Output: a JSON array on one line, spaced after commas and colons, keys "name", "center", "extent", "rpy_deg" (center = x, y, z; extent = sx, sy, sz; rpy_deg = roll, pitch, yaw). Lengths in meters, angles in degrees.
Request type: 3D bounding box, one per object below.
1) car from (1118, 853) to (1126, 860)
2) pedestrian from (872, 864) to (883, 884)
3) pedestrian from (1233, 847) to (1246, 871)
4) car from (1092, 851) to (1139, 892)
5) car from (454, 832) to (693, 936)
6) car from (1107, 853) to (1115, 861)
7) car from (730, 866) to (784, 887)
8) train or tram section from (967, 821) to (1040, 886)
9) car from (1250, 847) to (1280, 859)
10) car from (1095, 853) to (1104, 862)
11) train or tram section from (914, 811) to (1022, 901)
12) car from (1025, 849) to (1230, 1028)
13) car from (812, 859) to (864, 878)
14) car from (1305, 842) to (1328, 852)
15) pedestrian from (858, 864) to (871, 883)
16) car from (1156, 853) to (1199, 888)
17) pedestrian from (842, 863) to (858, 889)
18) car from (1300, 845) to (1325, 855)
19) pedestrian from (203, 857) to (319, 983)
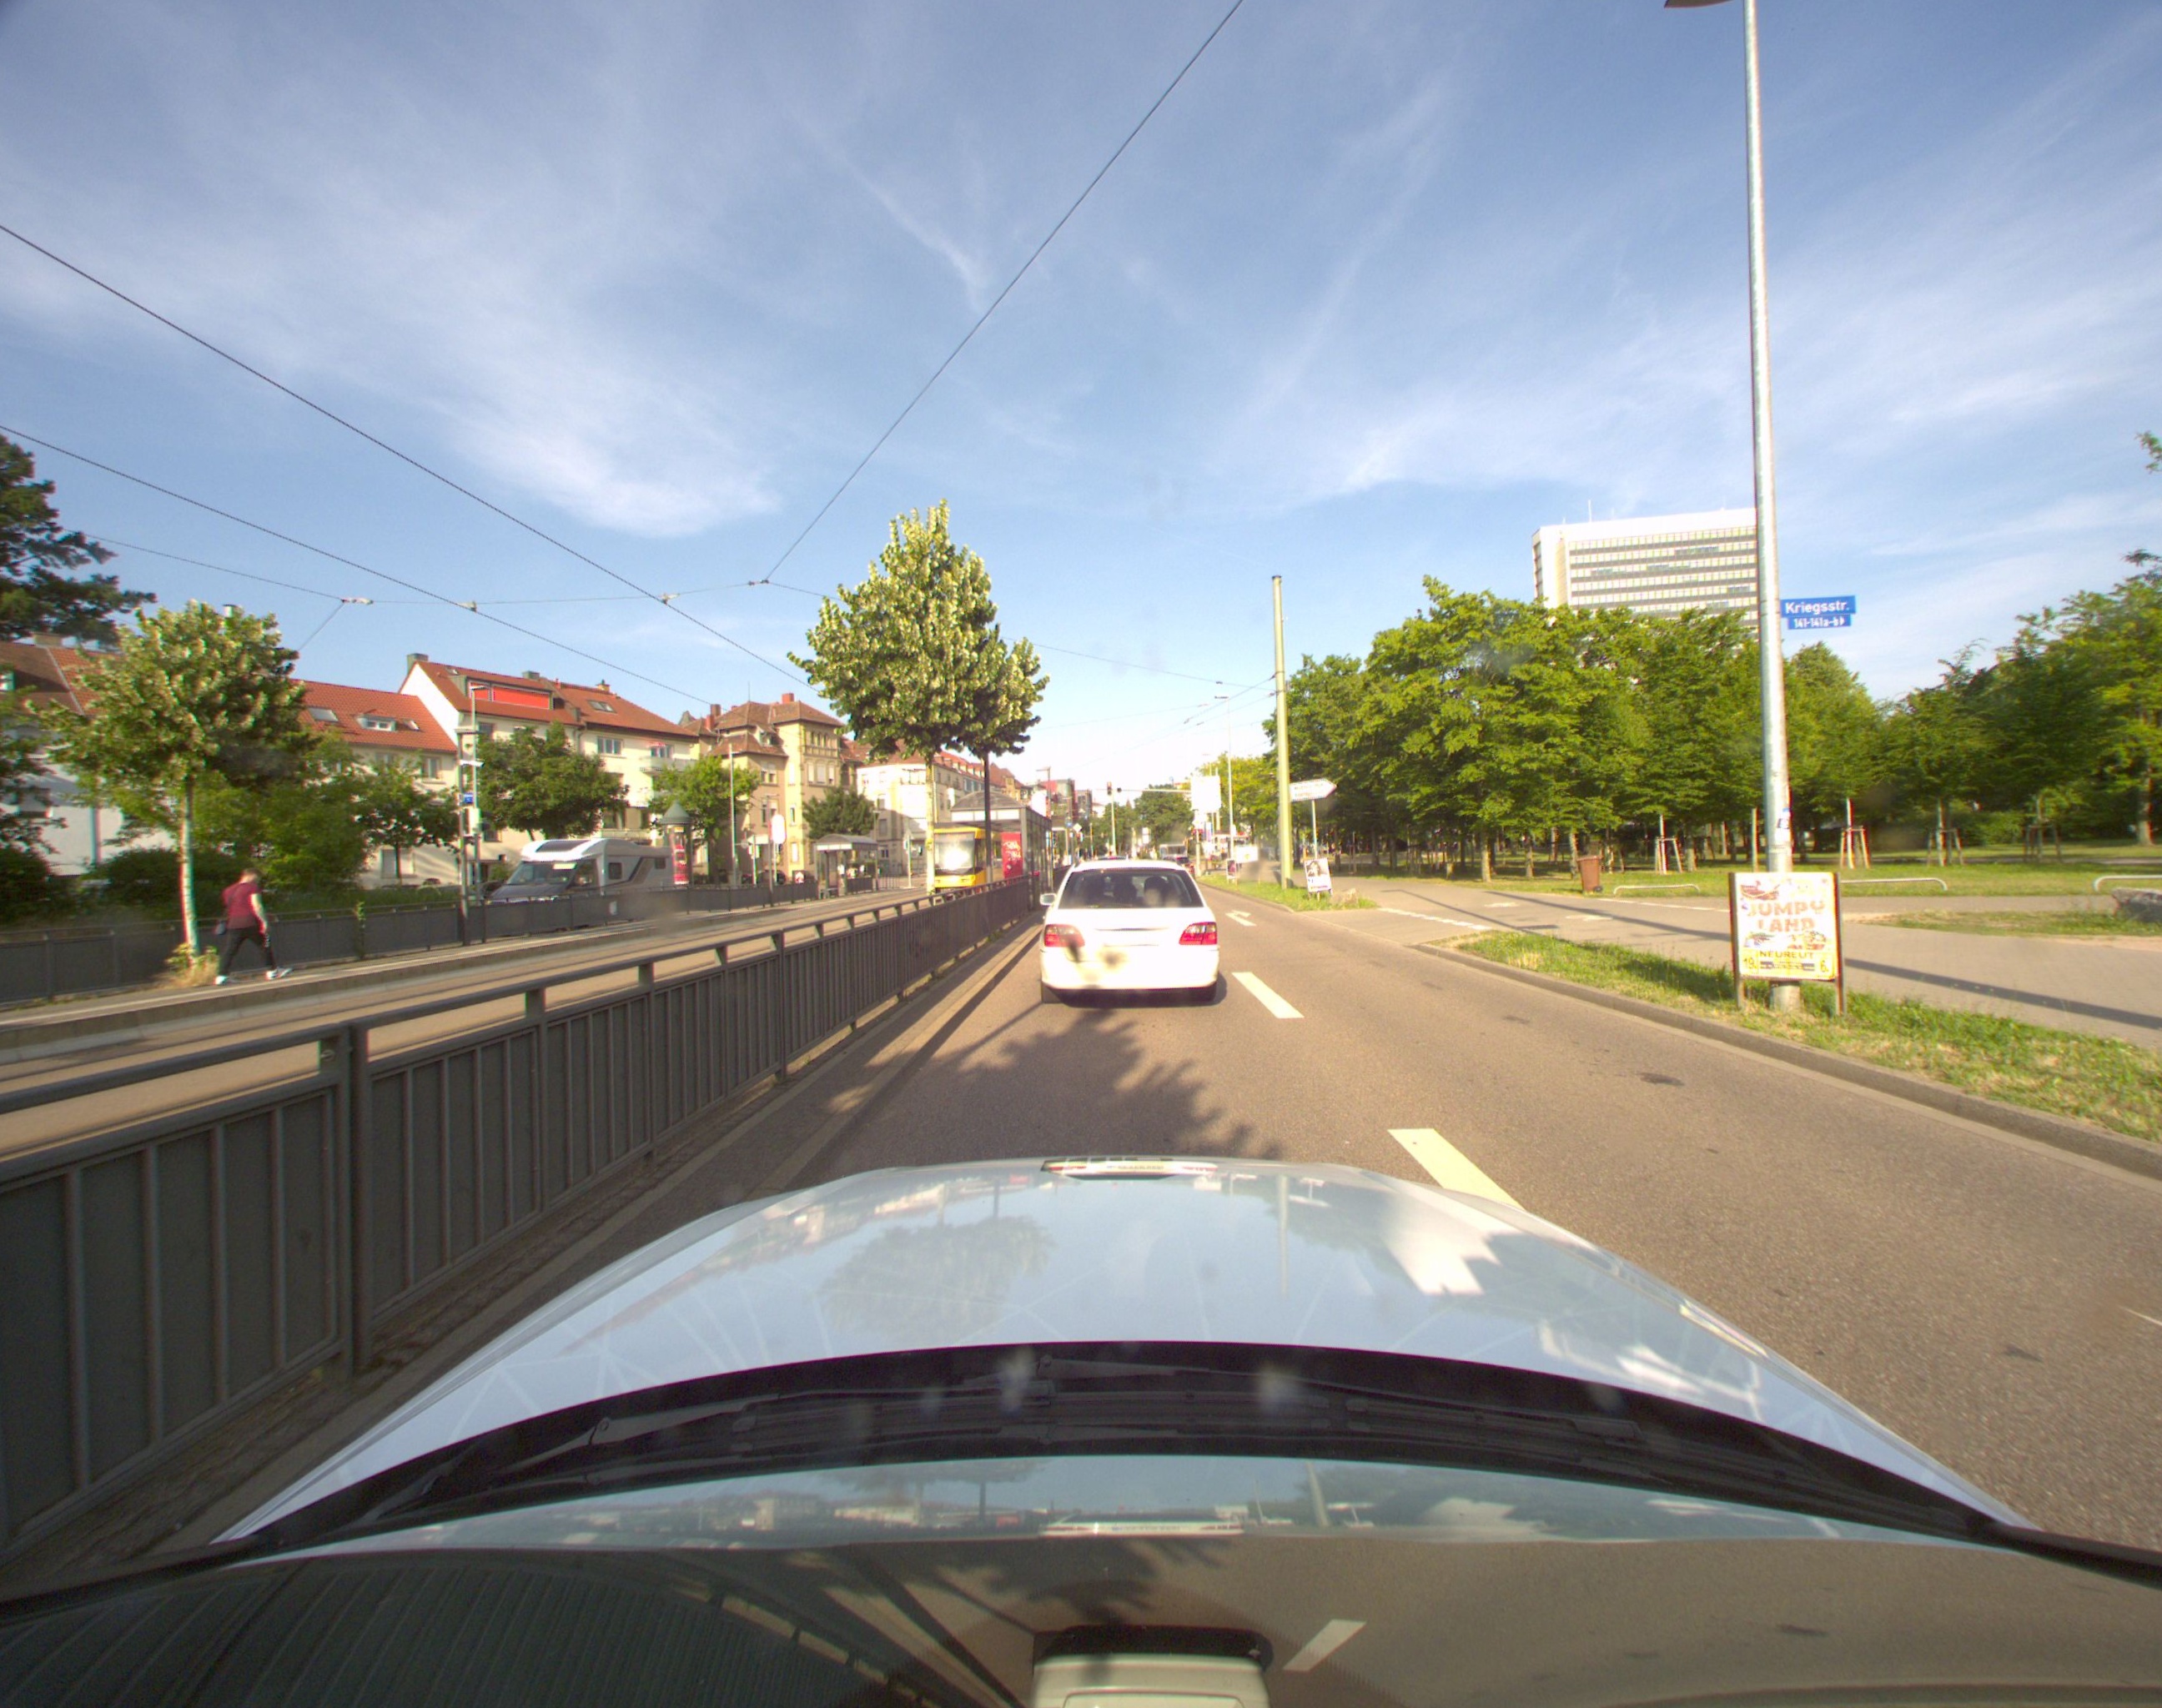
[{"name": "car", "center": [12.108, 0.700, 240.007], "extent": [1.986, 2.013, 4.001], "rpy_deg": [-3, 0, 2]}, {"name": "pedestrian", "center": [-17.949, 1.753, 71.788], "extent": [0.662, 1.753, 0.747], "rpy_deg": [-2, 0, 6]}, {"name": "pedestrian", "center": [11.454, 0.362, 58.870], "extent": [0.881, 1.652, 0.748], "rpy_deg": [-2, 0, 10]}, {"name": "car", "center": [1.612, 0.734, 36.870], "extent": [1.778, 1.690, 4.007], "rpy_deg": [-2, 0, 6]}, {"name": "car", "center": [-15.385, 0.790, 25.552], "extent": [2.587, 2.735, 7.470], "rpy_deg": [-2, 0, 1]}, {"name": "car", "center": [7.702, 0.807, 212.369], "extent": [1.986, 2.013, 4.001], "rpy_deg": [-3, 0, 2]}, {"name": "car", "center": [-28.064, 1.941, 70.502], "extent": [3.954, 1.750, 2.010], "rpy_deg": [-2, 0, 19]}, {"name": "train or tram section", "center": [-4.616, -0.045, 51.520], "extent": [2.839, 3.479, 13.205], "rpy_deg": [-2, 0, 2]}, {"name": "car", "center": [27.524, -0.168, 121.742], "extent": [3.949, 1.651, 2.012], "rpy_deg": [-3, 0, 27]}, {"name": "car", "center": [4.504, 0.895, 195.880], "extent": [1.986, 2.013, 4.001], "rpy_deg": [-3, 0, 2]}, {"name": "train or tram section", "center": [-4.900, 0.016, 38.535], "extent": [2.839, 3.479, 13.205], "rpy_deg": [-1, 0, 2]}, {"name": "car", "center": [0.434, 0.752, 9.241], "extent": [1.752, 1.503, 4.000], "rpy_deg": [-3, 0, 0]}, {"name": "car", "center": [-23.504, 1.368, 79.015], "extent": [2.183, 1.628, 4.744], "rpy_deg": [-2, 0, 25]}, {"name": "car", "center": [44.641, -1.326, 154.408], "extent": [3.956, 1.651, 2.009], "rpy_deg": [-3, 0, 16]}, {"name": "pedestrian", "center": [-20.415, 1.812, 76.873], "extent": [0.882, 1.753, 0.747], "rpy_deg": [-2, 0, 6]}, {"name": "car", "center": [4.853, 0.779, 41.004], "extent": [2.023, 1.605, 4.007], "rpy_deg": [-2, 0, 6]}, {"name": "pedestrian", "center": [-15.927, 1.510, 56.164], "extent": [0.886, 1.753, 0.743], "rpy_deg": [-2, 0, -9]}, {"name": "car", "center": [42.241, -0.667, 148.837], "extent": [4.006, 1.651, 1.984], "rpy_deg": [-2, 0, -25]}, {"name": "pedestrian", "center": [-11.914, 0.936, 11.863], "extent": [0.832, 1.733, 0.773], "rpy_deg": [-2, 0, 2]}]
